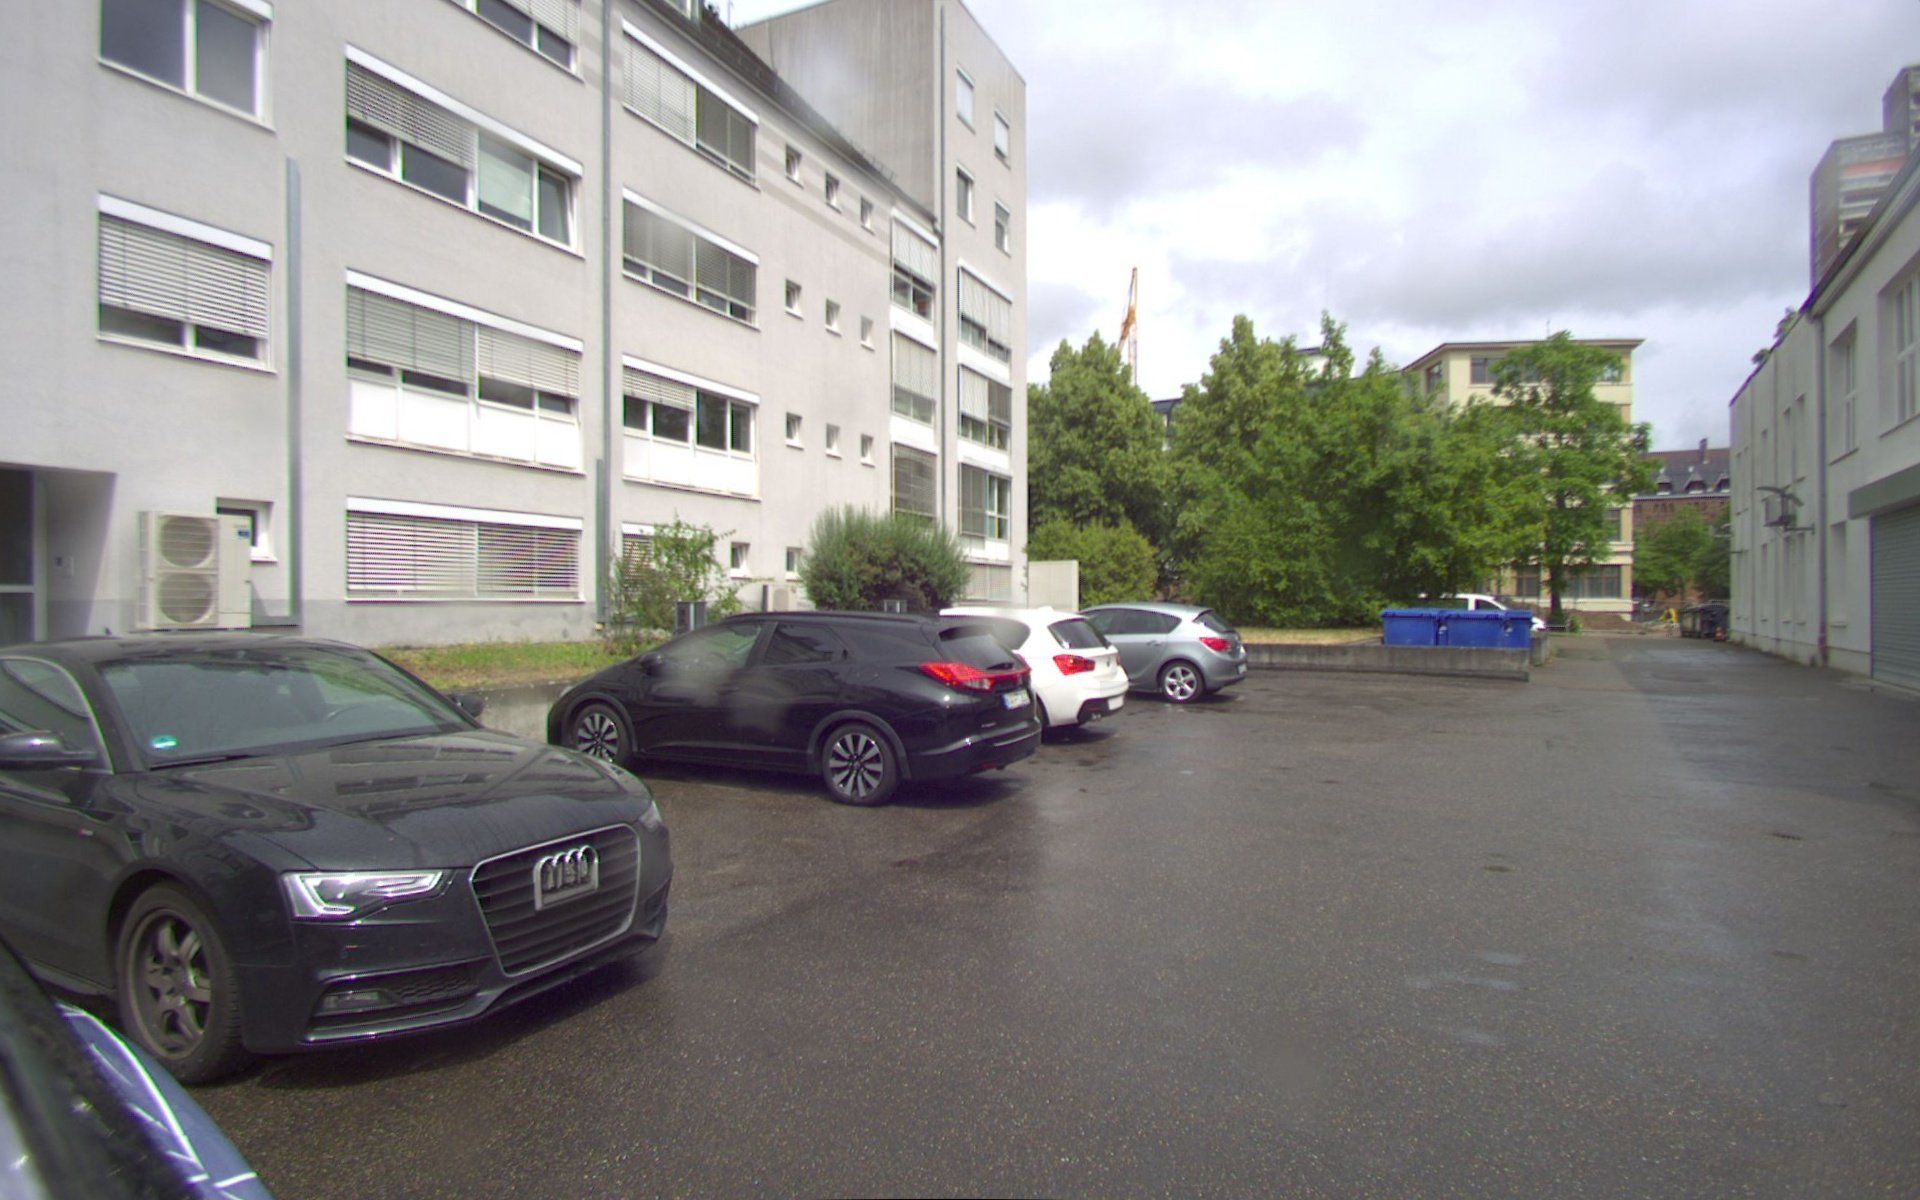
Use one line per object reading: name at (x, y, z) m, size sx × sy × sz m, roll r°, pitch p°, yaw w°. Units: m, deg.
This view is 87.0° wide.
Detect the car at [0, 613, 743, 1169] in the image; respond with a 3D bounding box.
car at (-3.297, 0.787, 4.445) m, size 4.505 × 1.362 × 1.747 m, roll 0°, pitch 1°, yaw 26°

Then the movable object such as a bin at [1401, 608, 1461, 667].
movable object such as a bin at (11.276, 0.872, 24.220) m, size 1.128 × 1.338 × 1.194 m, roll -1°, pitch 0°, yaw 34°

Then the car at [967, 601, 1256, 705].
car at (2.415, 0.763, 16.232) m, size 4.292 × 1.453 × 1.748 m, roll 0°, pitch 1°, yaw 25°

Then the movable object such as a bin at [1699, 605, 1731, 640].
movable object such as a bin at (30.442, 0.902, 40.817) m, size 0.976 × 1.366 × 0.908 m, roll -1°, pitch 0°, yaw 35°

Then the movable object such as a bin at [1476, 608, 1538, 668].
movable object such as a bin at (12.674, 0.861, 23.442) m, size 1.128 × 1.338 × 1.194 m, roll -1°, pitch 0°, yaw 34°

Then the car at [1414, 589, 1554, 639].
car at (19.231, 0.531, 37.219) m, size 4.327 × 1.740 × 1.701 m, roll -1°, pitch 0°, yaw 37°

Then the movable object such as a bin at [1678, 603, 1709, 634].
movable object such as a bin at (33.377, 0.855, 46.068) m, size 1.064 × 1.366 × 1.250 m, roll -1°, pitch 0°, yaw 35°

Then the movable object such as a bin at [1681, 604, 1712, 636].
movable object such as a bin at (32.673, 0.867, 44.905) m, size 1.064 × 1.366 × 1.250 m, roll -1°, pitch 0°, yaw 35°

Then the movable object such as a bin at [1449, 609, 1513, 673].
movable object such as a bin at (11.414, 0.873, 22.161) m, size 1.093 × 1.335 × 1.194 m, roll -1°, pitch 0°, yaw 34°

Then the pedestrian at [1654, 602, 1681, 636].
pedestrian at (39.163, 1.040, 56.019) m, size 0.849 × 1.827 × 0.863 m, roll -1°, pitch 0°, yaw 2°

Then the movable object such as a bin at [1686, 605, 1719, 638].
movable object such as a bin at (31.093, 0.892, 42.409) m, size 1.043 × 1.366 × 1.193 m, roll -1°, pitch 0°, yaw 35°

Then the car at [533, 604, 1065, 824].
car at (-1.414, 0.788, 8.660) m, size 4.291 × 1.453 × 1.748 m, roll 0°, pitch 1°, yaw 25°

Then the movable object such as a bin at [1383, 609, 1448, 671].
movable object such as a bin at (10.290, 0.889, 22.863) m, size 1.128 × 1.338 × 1.194 m, roll -1°, pitch 0°, yaw 34°

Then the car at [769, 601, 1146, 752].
car at (-0.067, 0.766, 11.791) m, size 4.104 × 1.453 × 1.681 m, roll 0°, pitch 1°, yaw 27°
